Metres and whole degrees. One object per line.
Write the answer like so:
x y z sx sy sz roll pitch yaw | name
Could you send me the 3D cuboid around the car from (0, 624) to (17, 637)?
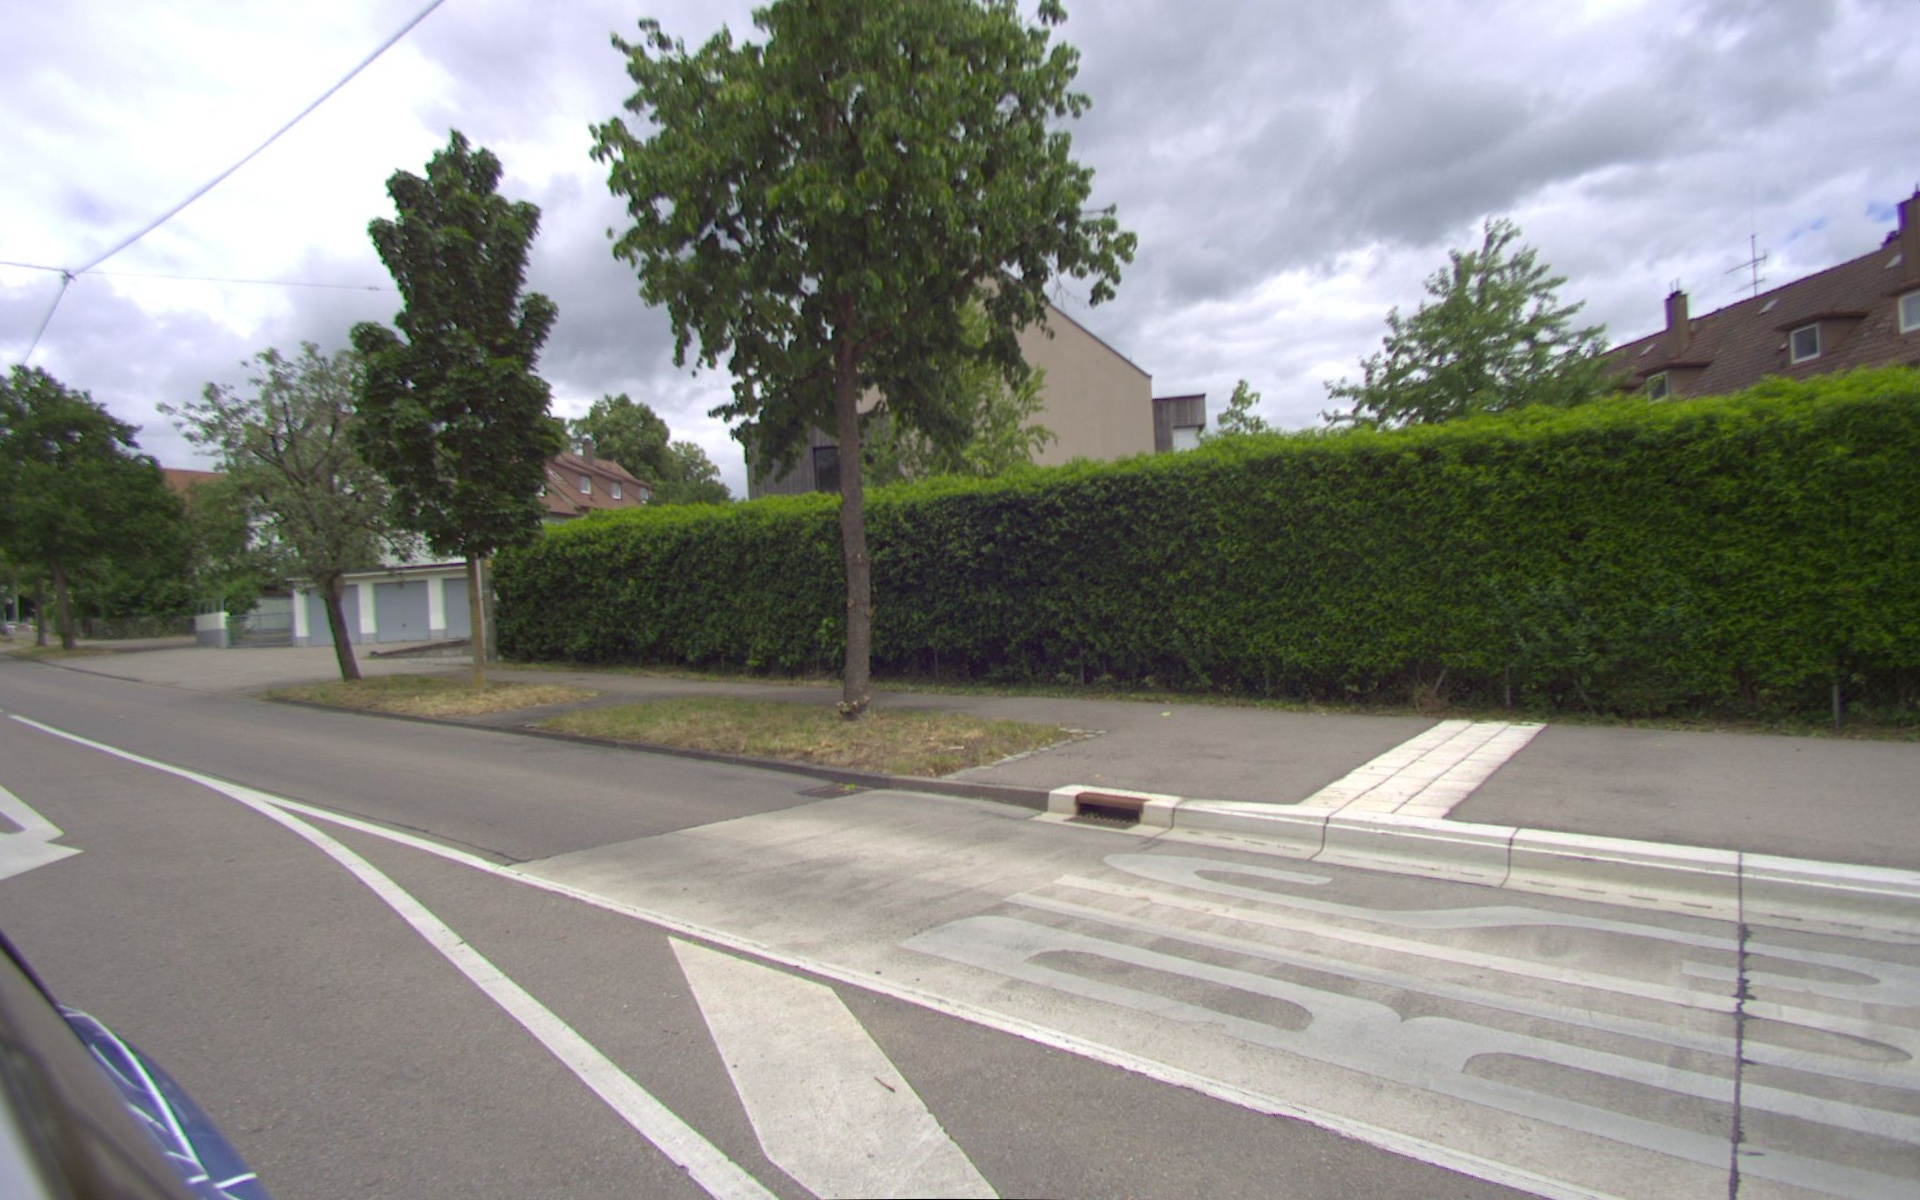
-113.928 3.631 119.243 1.778 1.420 3.993 -1 0 6 | car
